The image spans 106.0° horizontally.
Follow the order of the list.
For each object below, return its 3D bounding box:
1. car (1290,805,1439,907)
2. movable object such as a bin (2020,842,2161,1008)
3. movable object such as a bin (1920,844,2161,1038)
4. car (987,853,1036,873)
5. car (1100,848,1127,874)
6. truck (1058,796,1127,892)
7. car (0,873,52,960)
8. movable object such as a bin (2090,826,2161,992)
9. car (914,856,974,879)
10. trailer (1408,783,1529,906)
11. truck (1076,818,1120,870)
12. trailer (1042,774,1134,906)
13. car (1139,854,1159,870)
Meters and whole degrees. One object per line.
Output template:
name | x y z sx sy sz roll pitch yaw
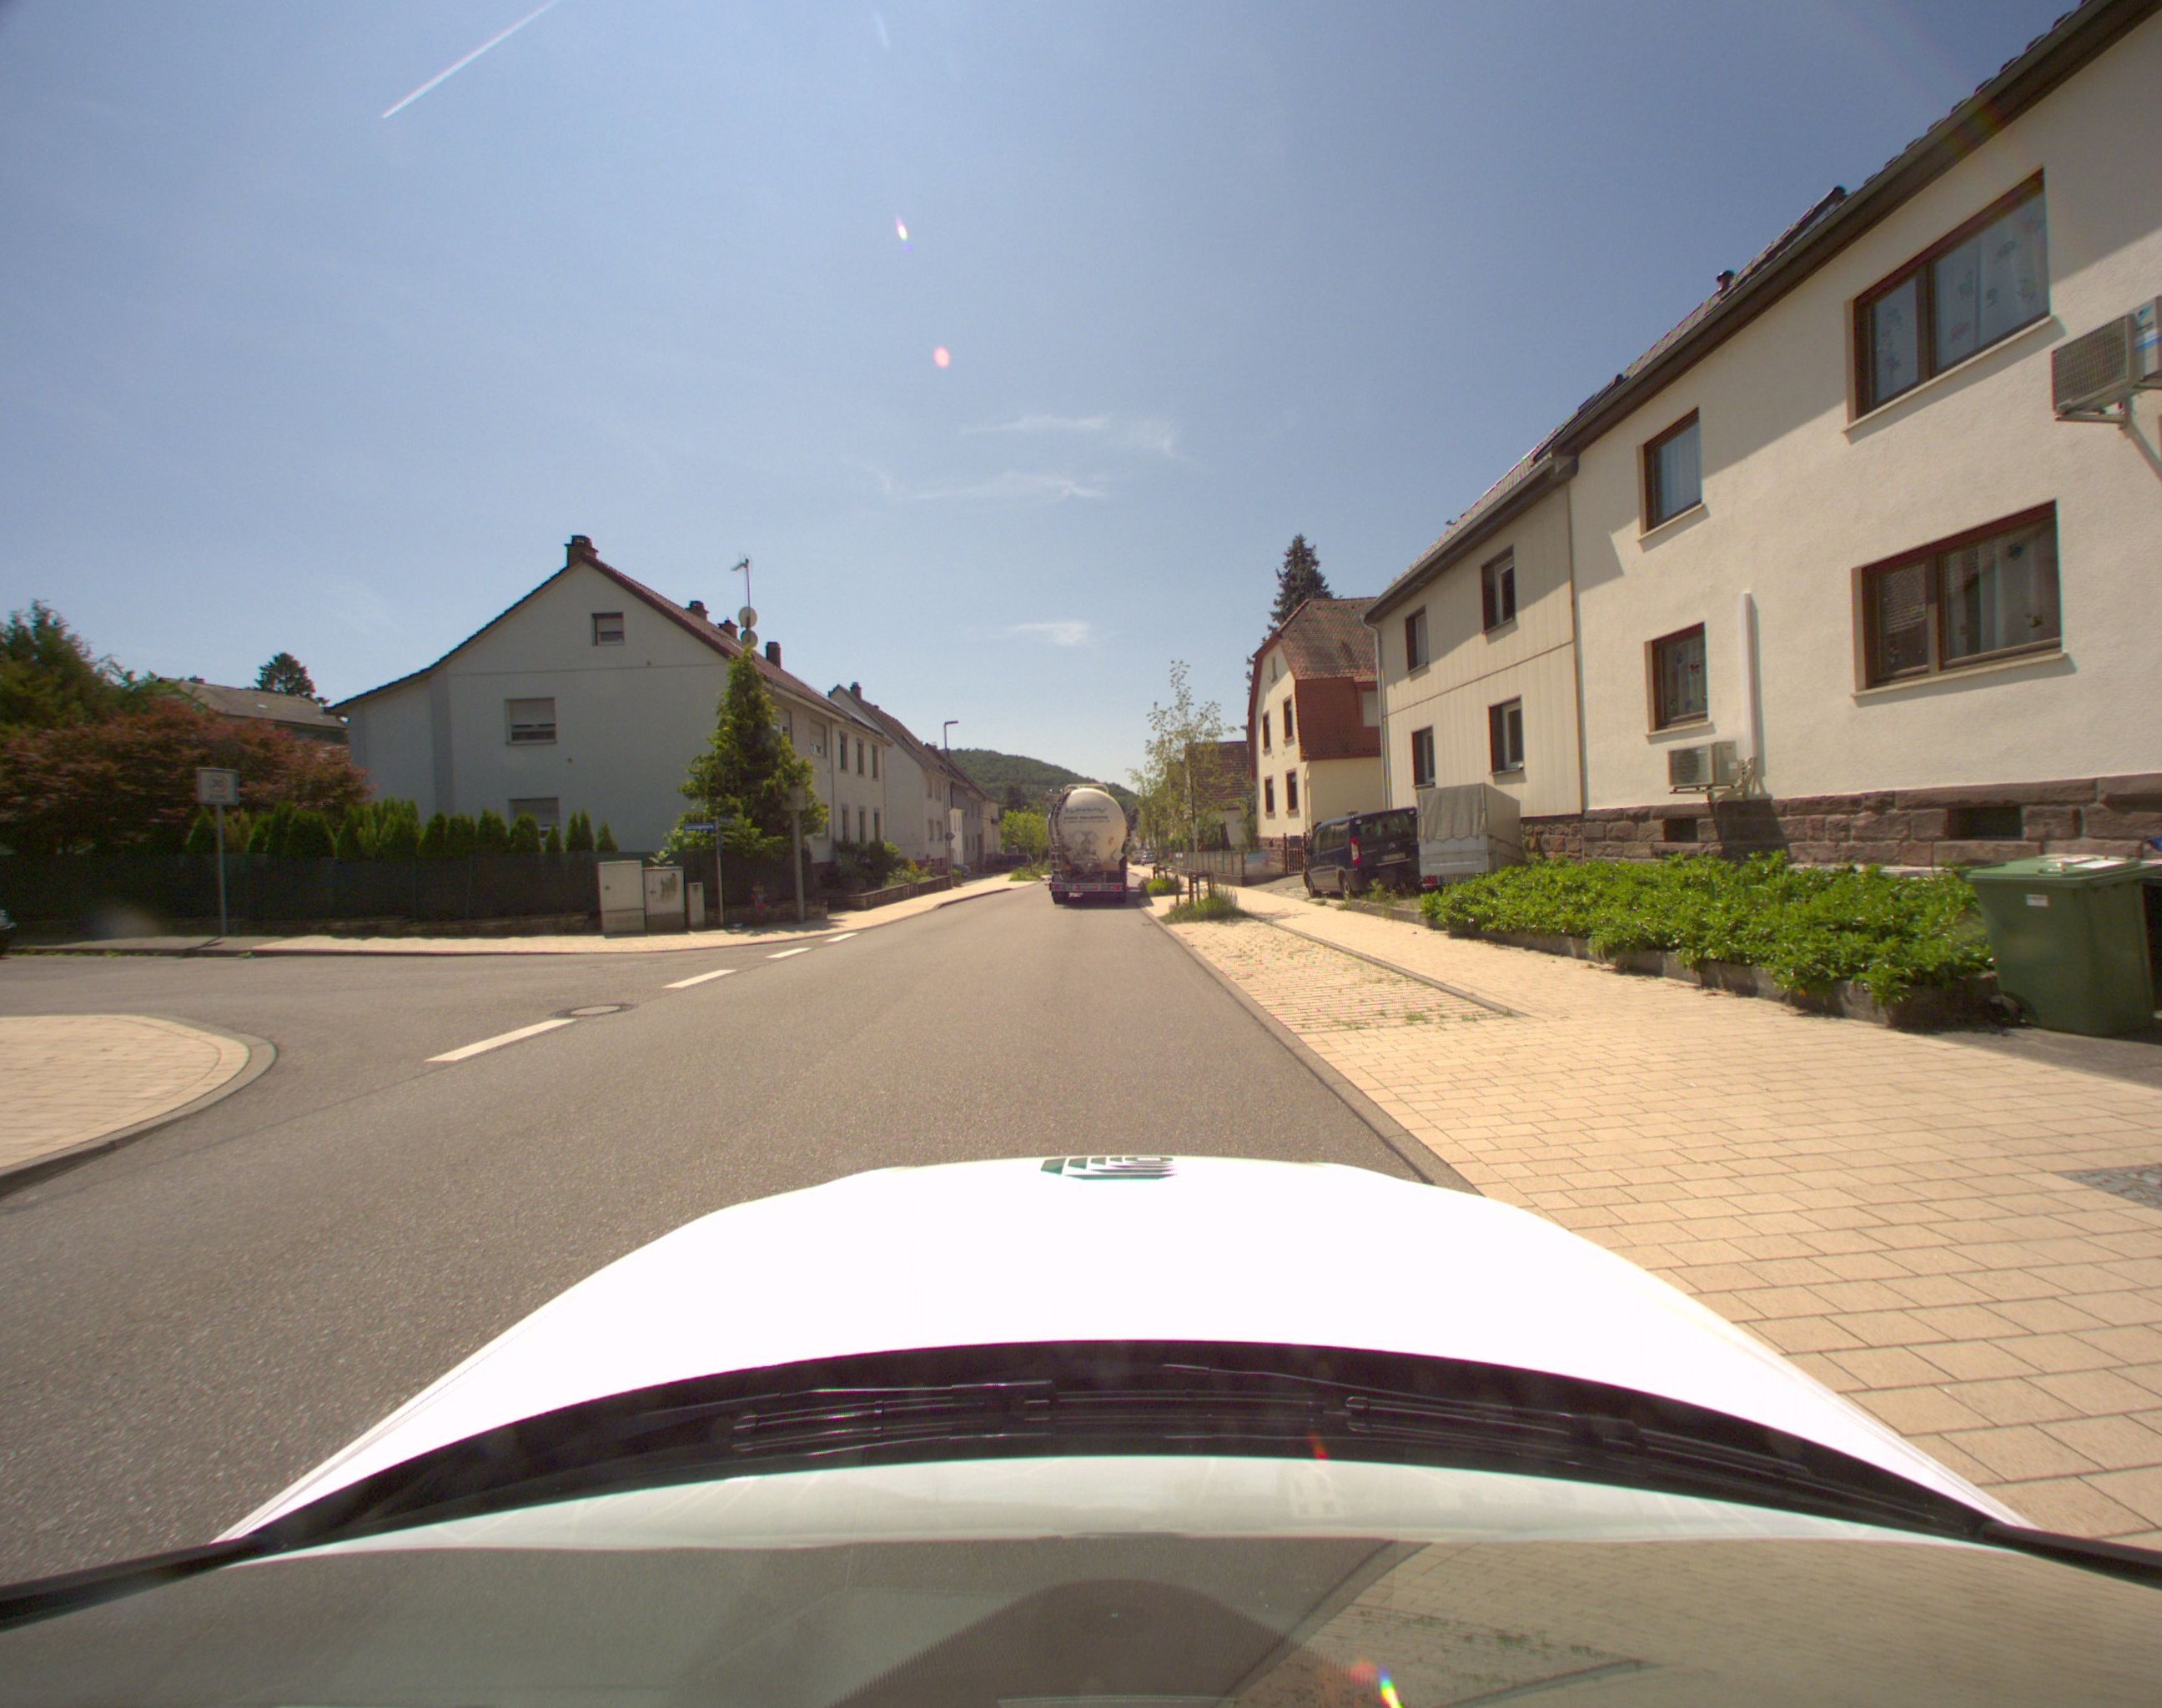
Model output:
car | 6.606 0.051 19.600 1.846 1.971 4.774 -6 0 1
movable object such as a bin | 6.982 0.438 5.376 0.555 0.986 0.804 -6 -1 7
movable object such as a bin | 6.310 0.531 5.341 0.681 1.115 0.813 -6 -1 6
car | -6.586 0.827 77.558 4.381 1.750 1.877 -1 0 -1
car | 2.461 0.519 61.824 1.986 1.904 4.001 -1 0 1
truck | 0.642 -0.394 36.935 2.797 3.937 6.103 -1 0 3
car | -19.589 1.030 13.231 3.725 1.416 1.754 0 0 4
movable object such as a bin | 7.676 0.360 5.450 0.681 1.106 0.864 -5 -1 7
car | -9.890 0.967 58.884 3.973 1.545 1.832 -1 0 0
trailer | 7.003 -0.159 14.645 1.307 2.014 2.287 -1 -1 43
truck | 1.650 -0.973 84.529 3.900 4.895 9.789 -3 0 -2
trailer | 0.371 -0.407 30.211 2.786 4.001 10.327 -1 0 2
car | 7.332 0.876 88.028 1.784 1.541 4.522 -5 -1 2
